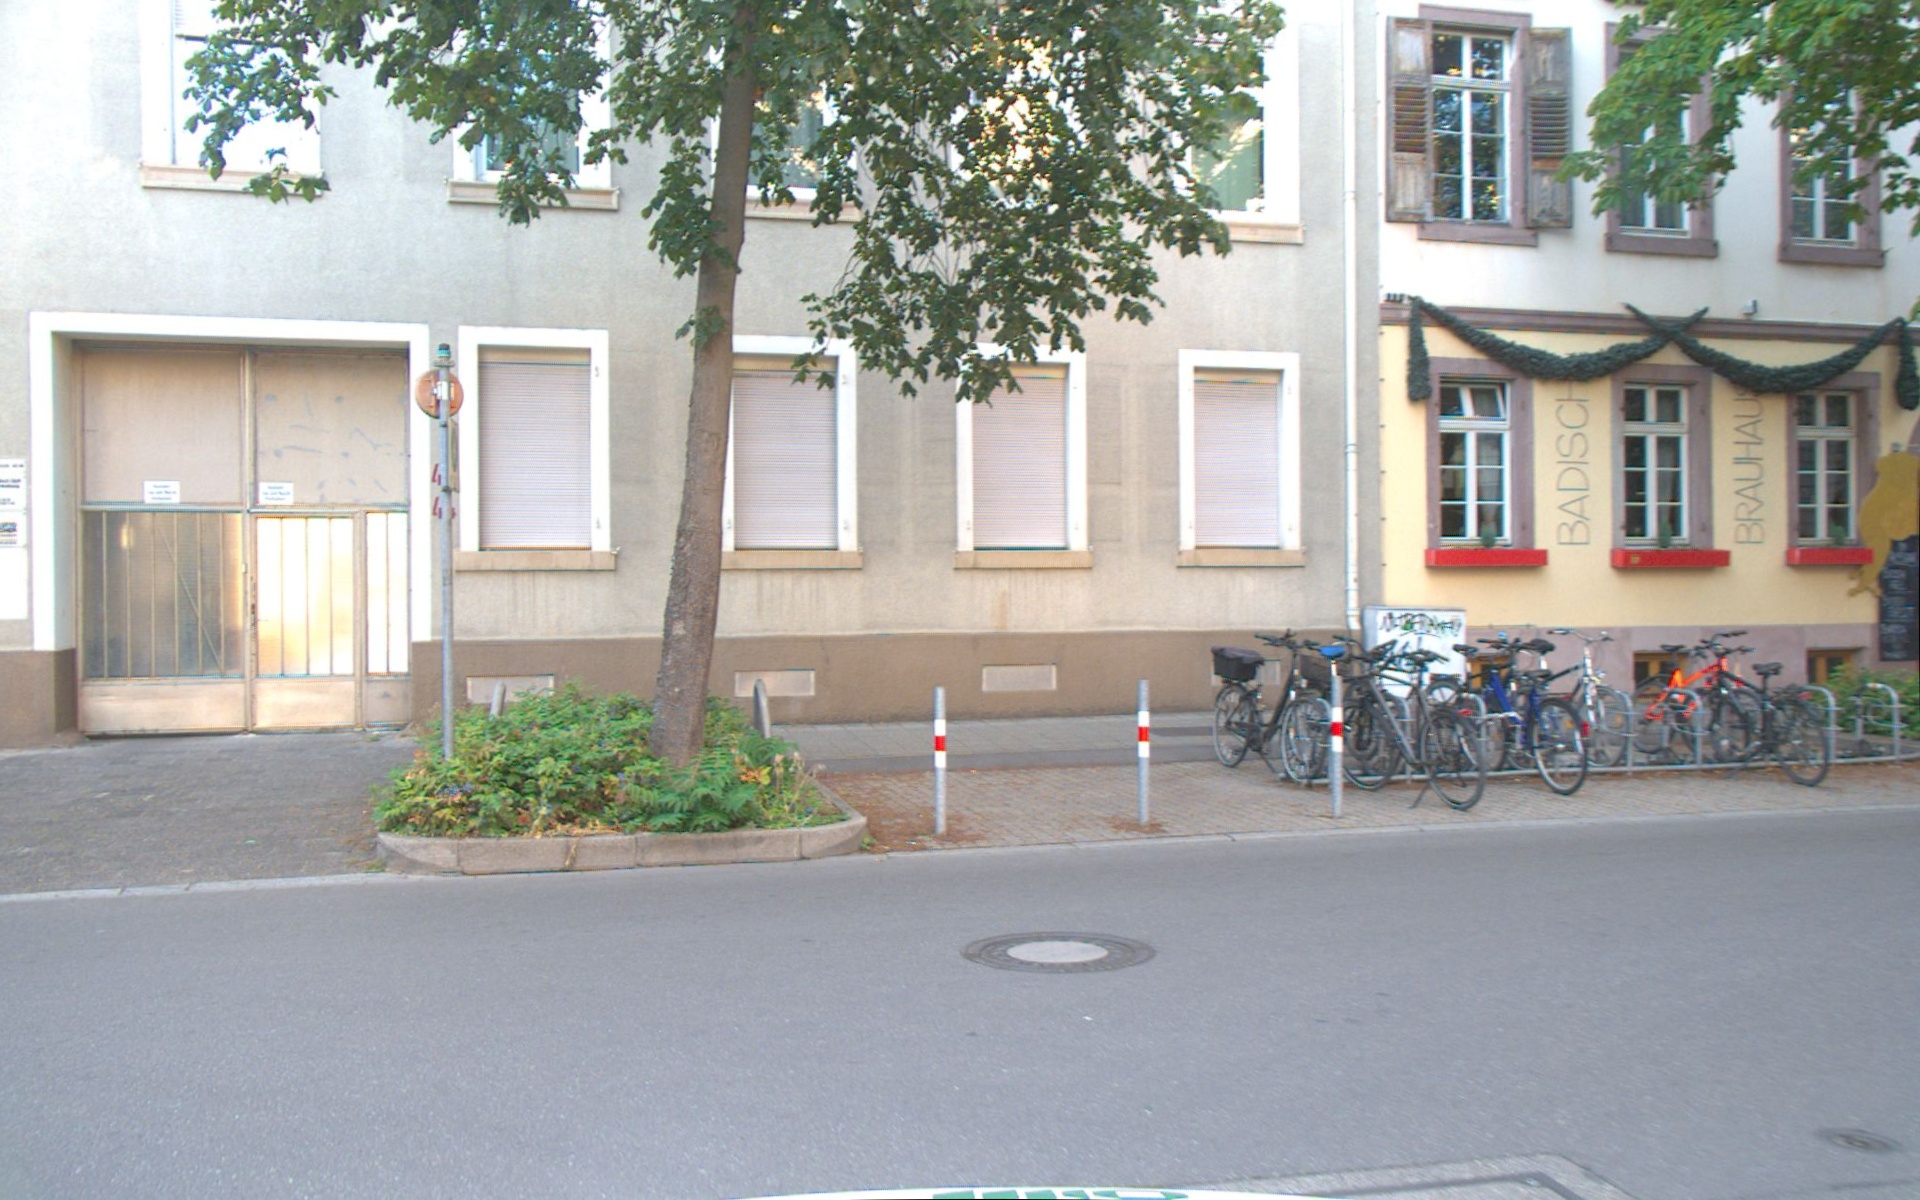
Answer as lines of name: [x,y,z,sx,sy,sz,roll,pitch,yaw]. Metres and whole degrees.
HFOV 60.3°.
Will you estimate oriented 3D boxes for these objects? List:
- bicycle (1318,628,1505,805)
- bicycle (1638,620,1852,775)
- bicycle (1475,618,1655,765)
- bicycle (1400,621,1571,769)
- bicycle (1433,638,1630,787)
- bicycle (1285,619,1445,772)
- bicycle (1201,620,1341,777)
bicycle: [3.330,0.816,12.398,0.437,1.165,2.035,-1,0,-13]
bicycle: [6.525,0.766,13.879,0.413,1.165,2.034,-1,0,-14]
bicycle: [5.285,0.759,14.588,0.413,1.165,2.034,-1,0,-14]
bicycle: [4.557,0.787,14.496,0.413,1.165,2.034,-1,0,-14]
bicycle: [4.449,0.840,13.041,0.413,1.021,2.034,-1,0,-14]
bicycle: [3.413,0.767,14.128,0.413,1.165,2.034,-1,0,-14]
bicycle: [2.555,0.770,13.800,0.437,1.165,2.037,-1,0,-10]
